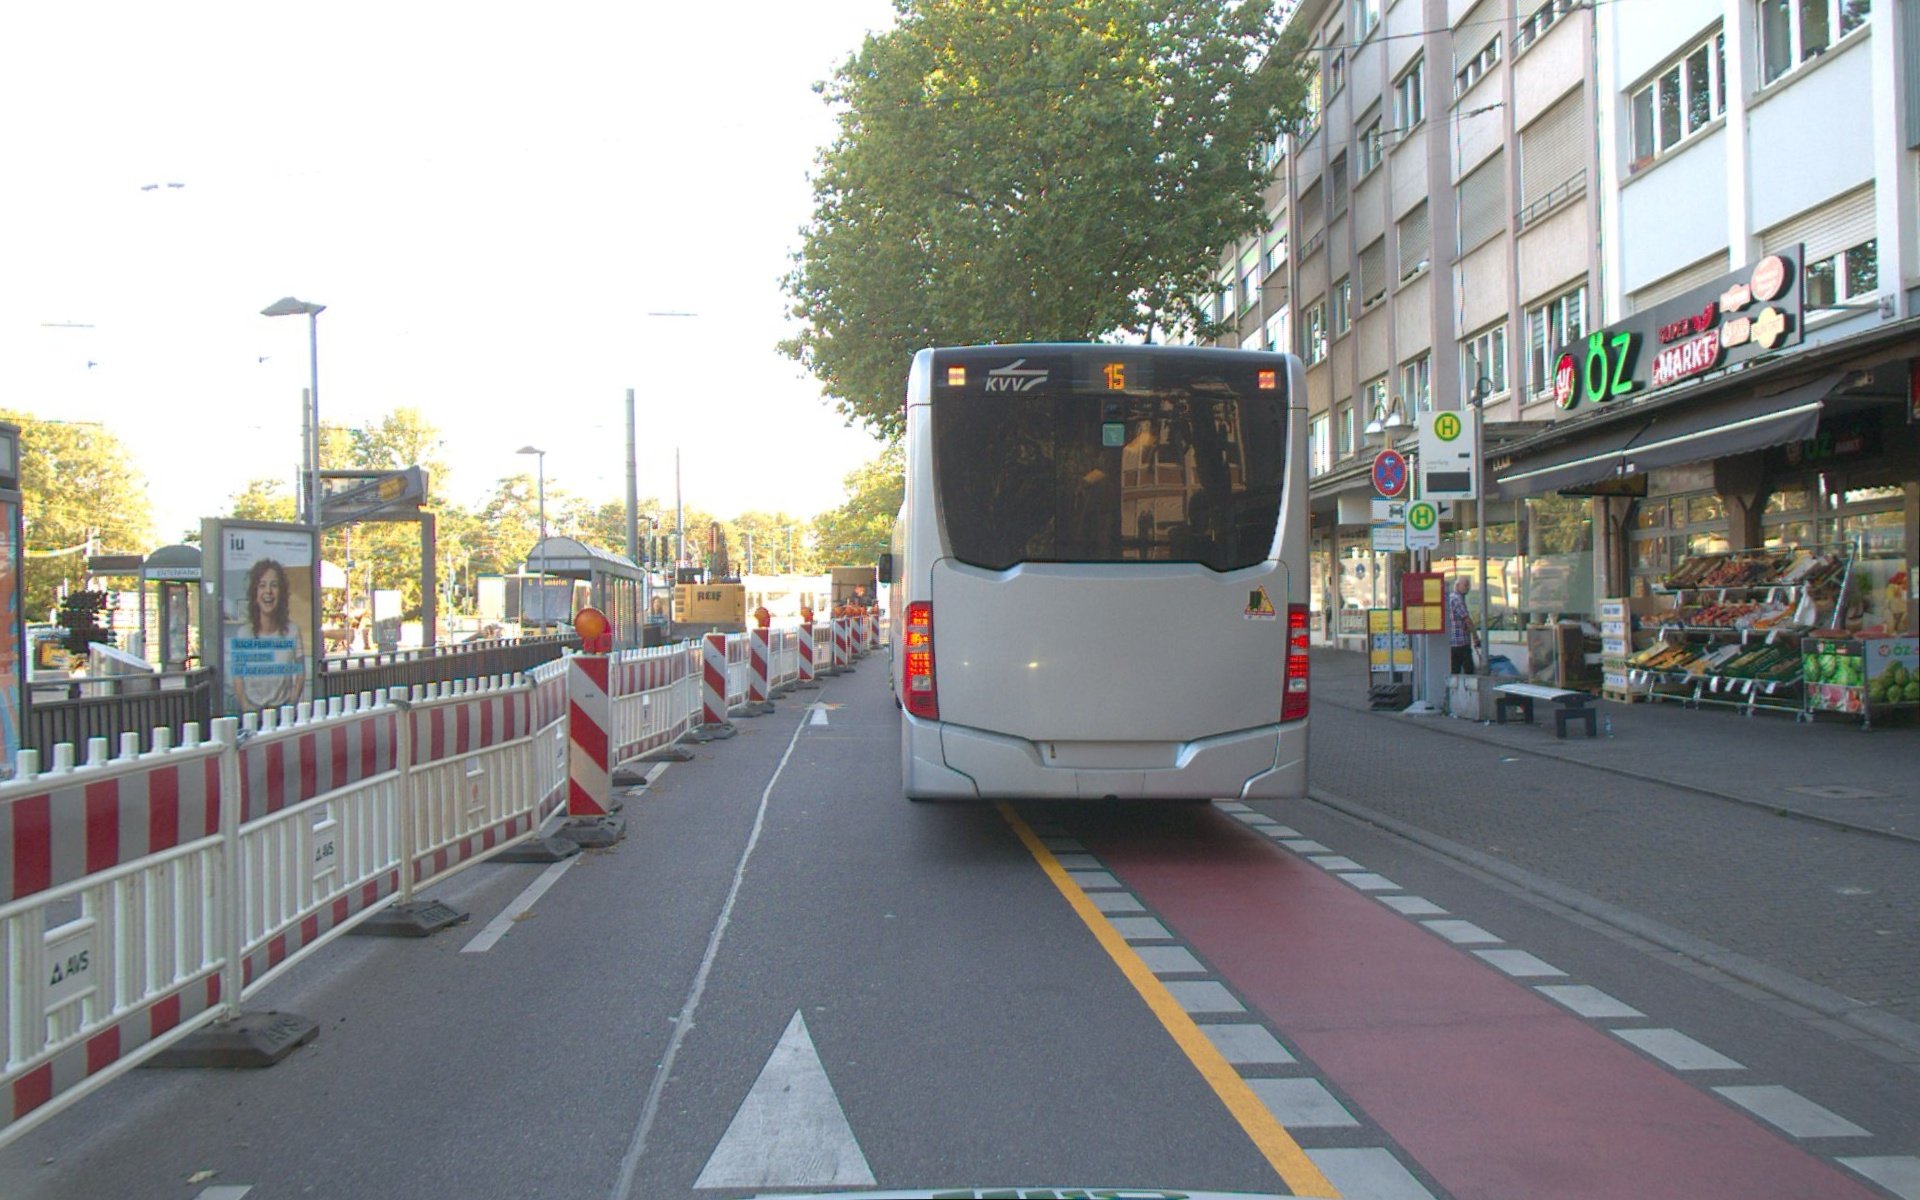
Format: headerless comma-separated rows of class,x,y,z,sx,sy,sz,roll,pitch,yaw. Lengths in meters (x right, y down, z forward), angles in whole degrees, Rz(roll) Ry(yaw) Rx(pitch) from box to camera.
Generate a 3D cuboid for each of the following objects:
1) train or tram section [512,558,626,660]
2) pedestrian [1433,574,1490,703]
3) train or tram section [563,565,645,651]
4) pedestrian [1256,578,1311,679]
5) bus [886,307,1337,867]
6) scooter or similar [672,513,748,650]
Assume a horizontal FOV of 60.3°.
train or tram section,-14.973,0.377,64.248,2.634,3.595,11.758,0,-1,-5
pedestrian,6.763,0.516,22.315,0.649,1.696,0.601,-3,-1,16
train or tram section,-16.175,0.372,75.832,2.635,3.621,11.563,1,-1,-7
pedestrian,5.622,0.492,28.737,0.859,1.720,0.620,-1,0,15
bus,0.878,-0.047,13.485,2.557,3.181,7.992,1,0,0
scooter or similar,-8.760,-0.609,58.463,2.422,4.549,5.963,-1,0,-7
